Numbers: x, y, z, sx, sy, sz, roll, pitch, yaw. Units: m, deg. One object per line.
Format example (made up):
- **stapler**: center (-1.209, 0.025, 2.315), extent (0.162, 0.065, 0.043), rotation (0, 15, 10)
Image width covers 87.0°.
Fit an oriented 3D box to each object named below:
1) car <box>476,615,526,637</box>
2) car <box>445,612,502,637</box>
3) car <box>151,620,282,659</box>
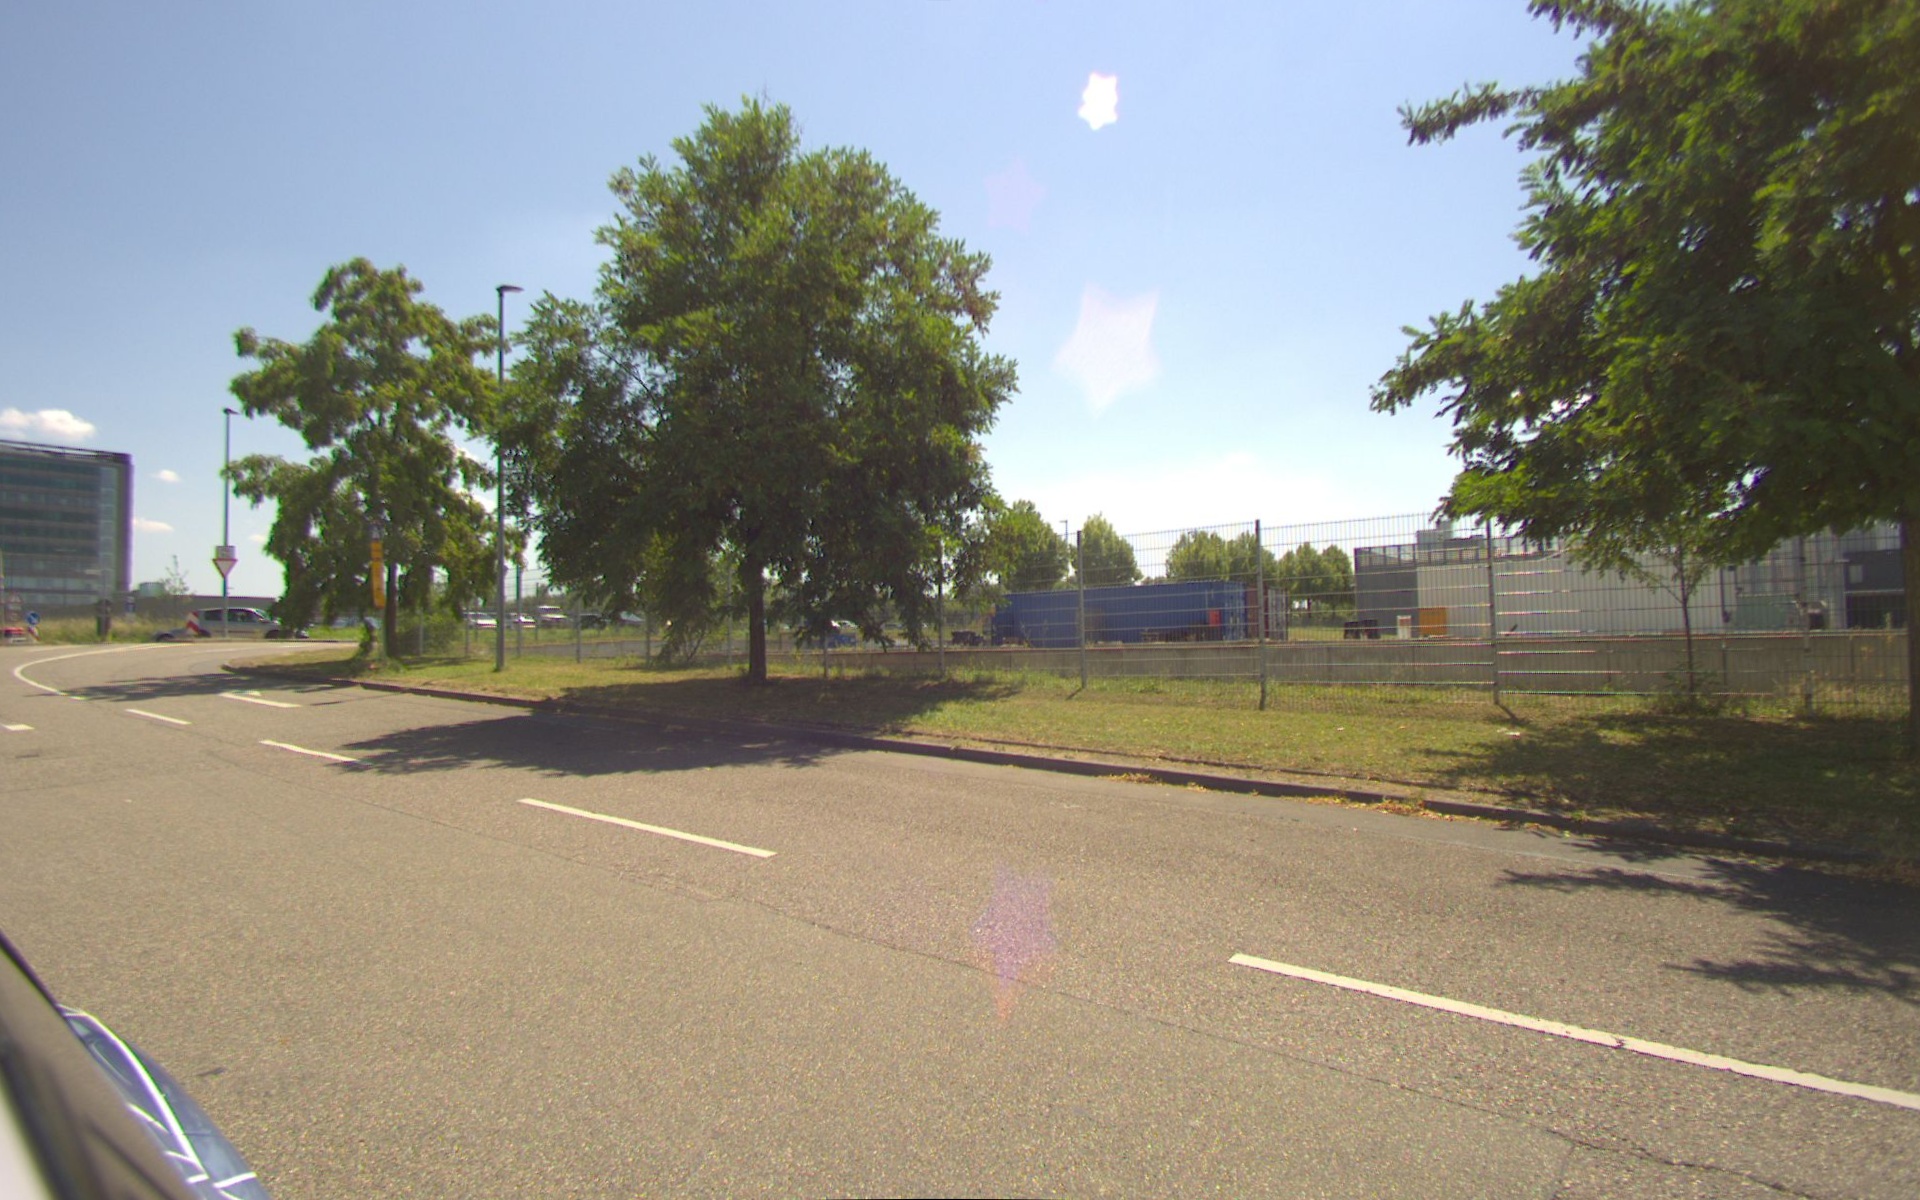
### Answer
- **car**: center (-28.237, 1.596, 62.242), extent (3.266, 1.191, 1.482), rotation (-3, -2, 38)
- **car**: center (-29.149, 1.480, 60.584), extent (3.873, 1.307, 1.554), rotation (-3, -2, 39)
- **car**: center (-33.035, 1.760, 45.109), extent (4.419, 1.385, 1.679), rotation (-2, -4, -24)
